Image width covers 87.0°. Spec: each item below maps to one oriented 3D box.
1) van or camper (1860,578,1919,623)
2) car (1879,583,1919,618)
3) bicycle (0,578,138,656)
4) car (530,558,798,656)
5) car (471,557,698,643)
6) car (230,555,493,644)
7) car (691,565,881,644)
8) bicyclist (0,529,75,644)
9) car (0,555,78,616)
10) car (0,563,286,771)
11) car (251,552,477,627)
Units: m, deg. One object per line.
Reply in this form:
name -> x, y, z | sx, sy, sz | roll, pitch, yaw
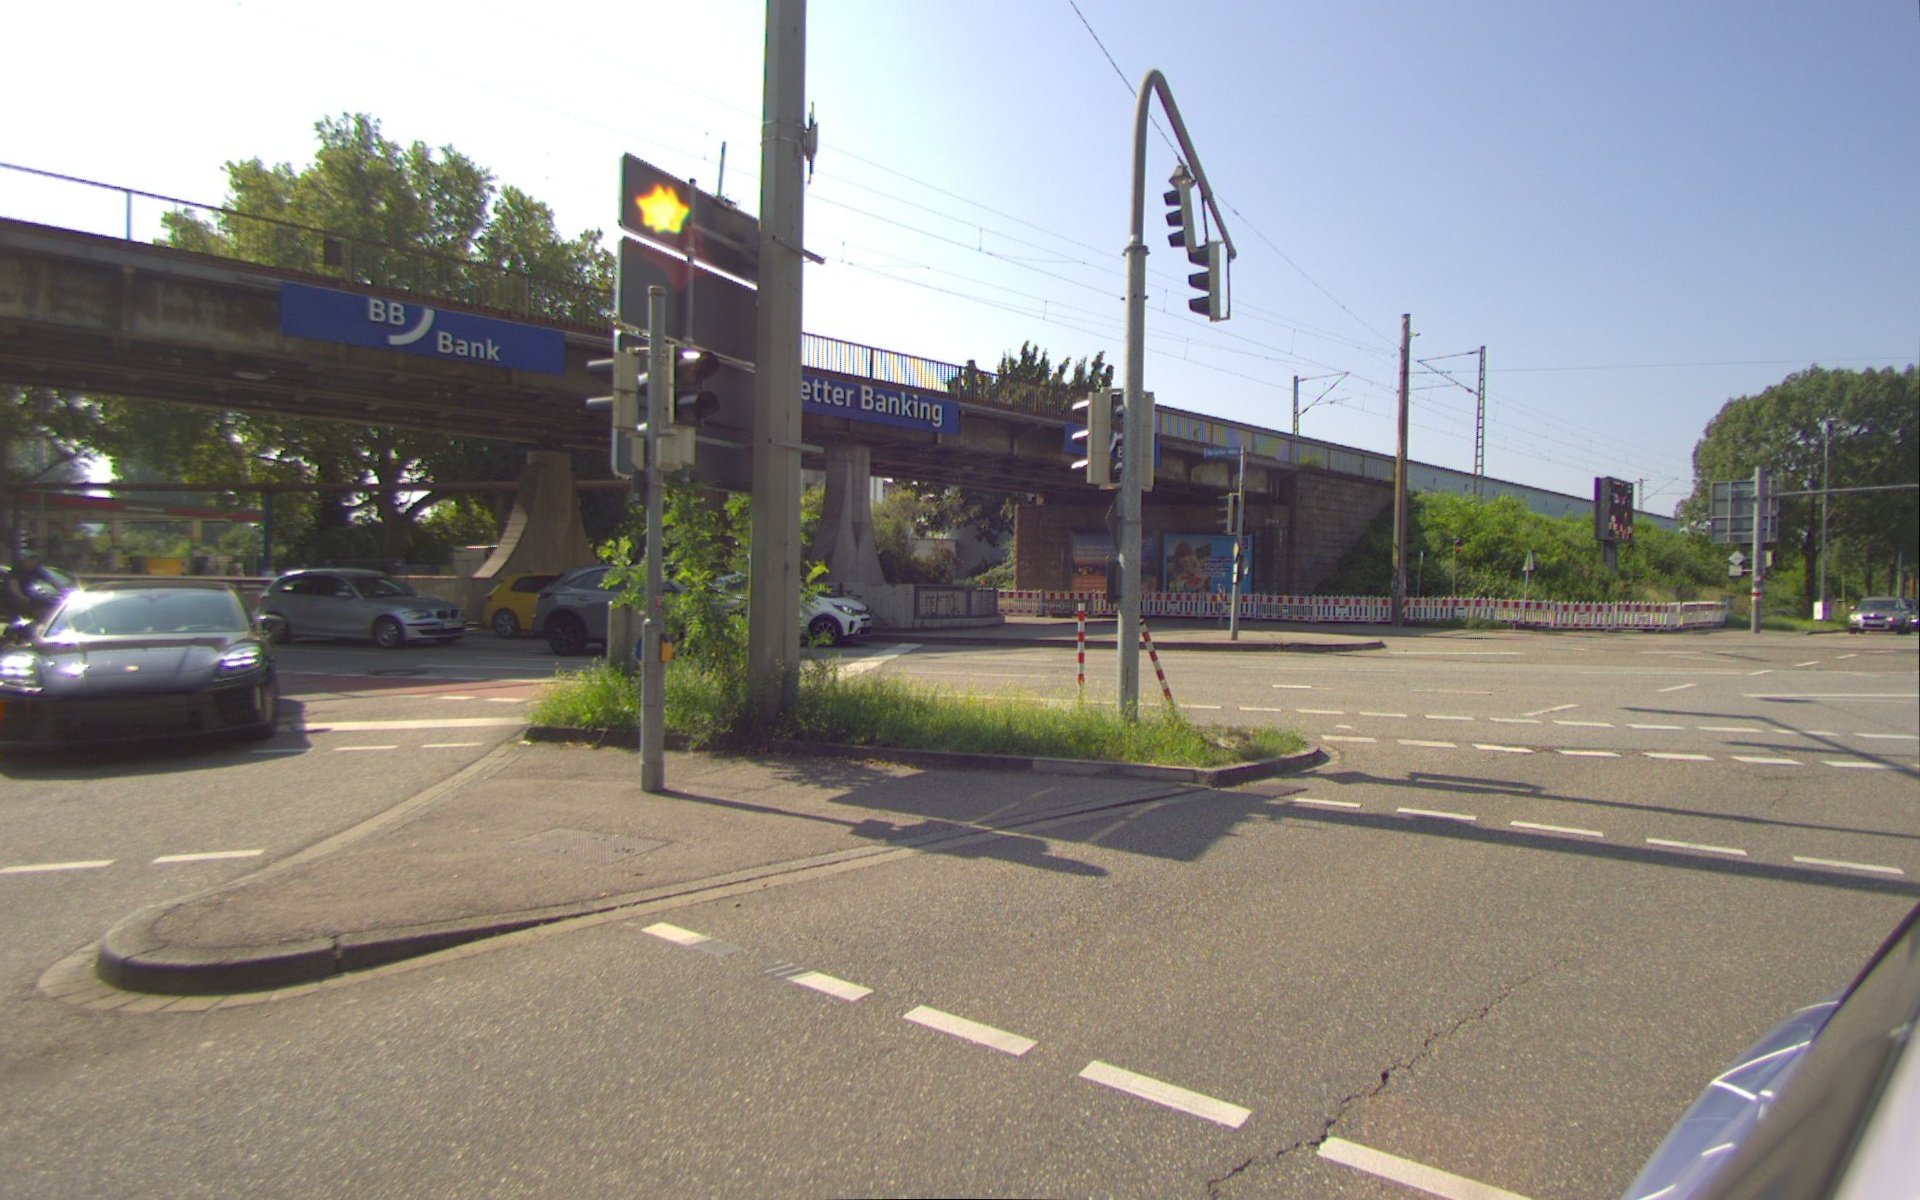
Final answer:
van or camper -> 39.960, 0.054, 43.181 | 4.101, 1.799, 1.849 | 2, -2, -41
car -> 44.670, 0.014, 47.512 | 3.933, 1.571, 1.995 | -1, 0, -44
bicycle -> -14.099, 0.211, 15.074 | 2.928, 1.062, 1.232 | 1, 1, 8
car -> -5.380, 0.058, 18.567 | 4.411, 1.637, 1.899 | 1, 2, 16
car -> -8.261, -0.022, 22.464 | 4.277, 1.592, 1.994 | 3, 1, 10
car -> -11.872, -0.069, 20.229 | 4.277, 1.539, 1.996 | 2, 3, 10
car -> -3.646, 0.046, 21.495 | 3.636, 1.557, 1.722 | 1, 2, 10
bicyclist -> -14.029, -0.209, 15.155 | 0.954, 1.679, 0.711 | 1, 1, 8
car -> -25.468, -0.432, 26.169 | 4.119, 1.502, 1.852 | 2, 1, 10
car -> -7.973, 0.419, 10.096 | 1.962, 1.480, 4.889 | -2, 4, -35
car -> -13.910, -0.257, 23.739 | 4.277, 1.488, 1.994 | 3, 1, 10
